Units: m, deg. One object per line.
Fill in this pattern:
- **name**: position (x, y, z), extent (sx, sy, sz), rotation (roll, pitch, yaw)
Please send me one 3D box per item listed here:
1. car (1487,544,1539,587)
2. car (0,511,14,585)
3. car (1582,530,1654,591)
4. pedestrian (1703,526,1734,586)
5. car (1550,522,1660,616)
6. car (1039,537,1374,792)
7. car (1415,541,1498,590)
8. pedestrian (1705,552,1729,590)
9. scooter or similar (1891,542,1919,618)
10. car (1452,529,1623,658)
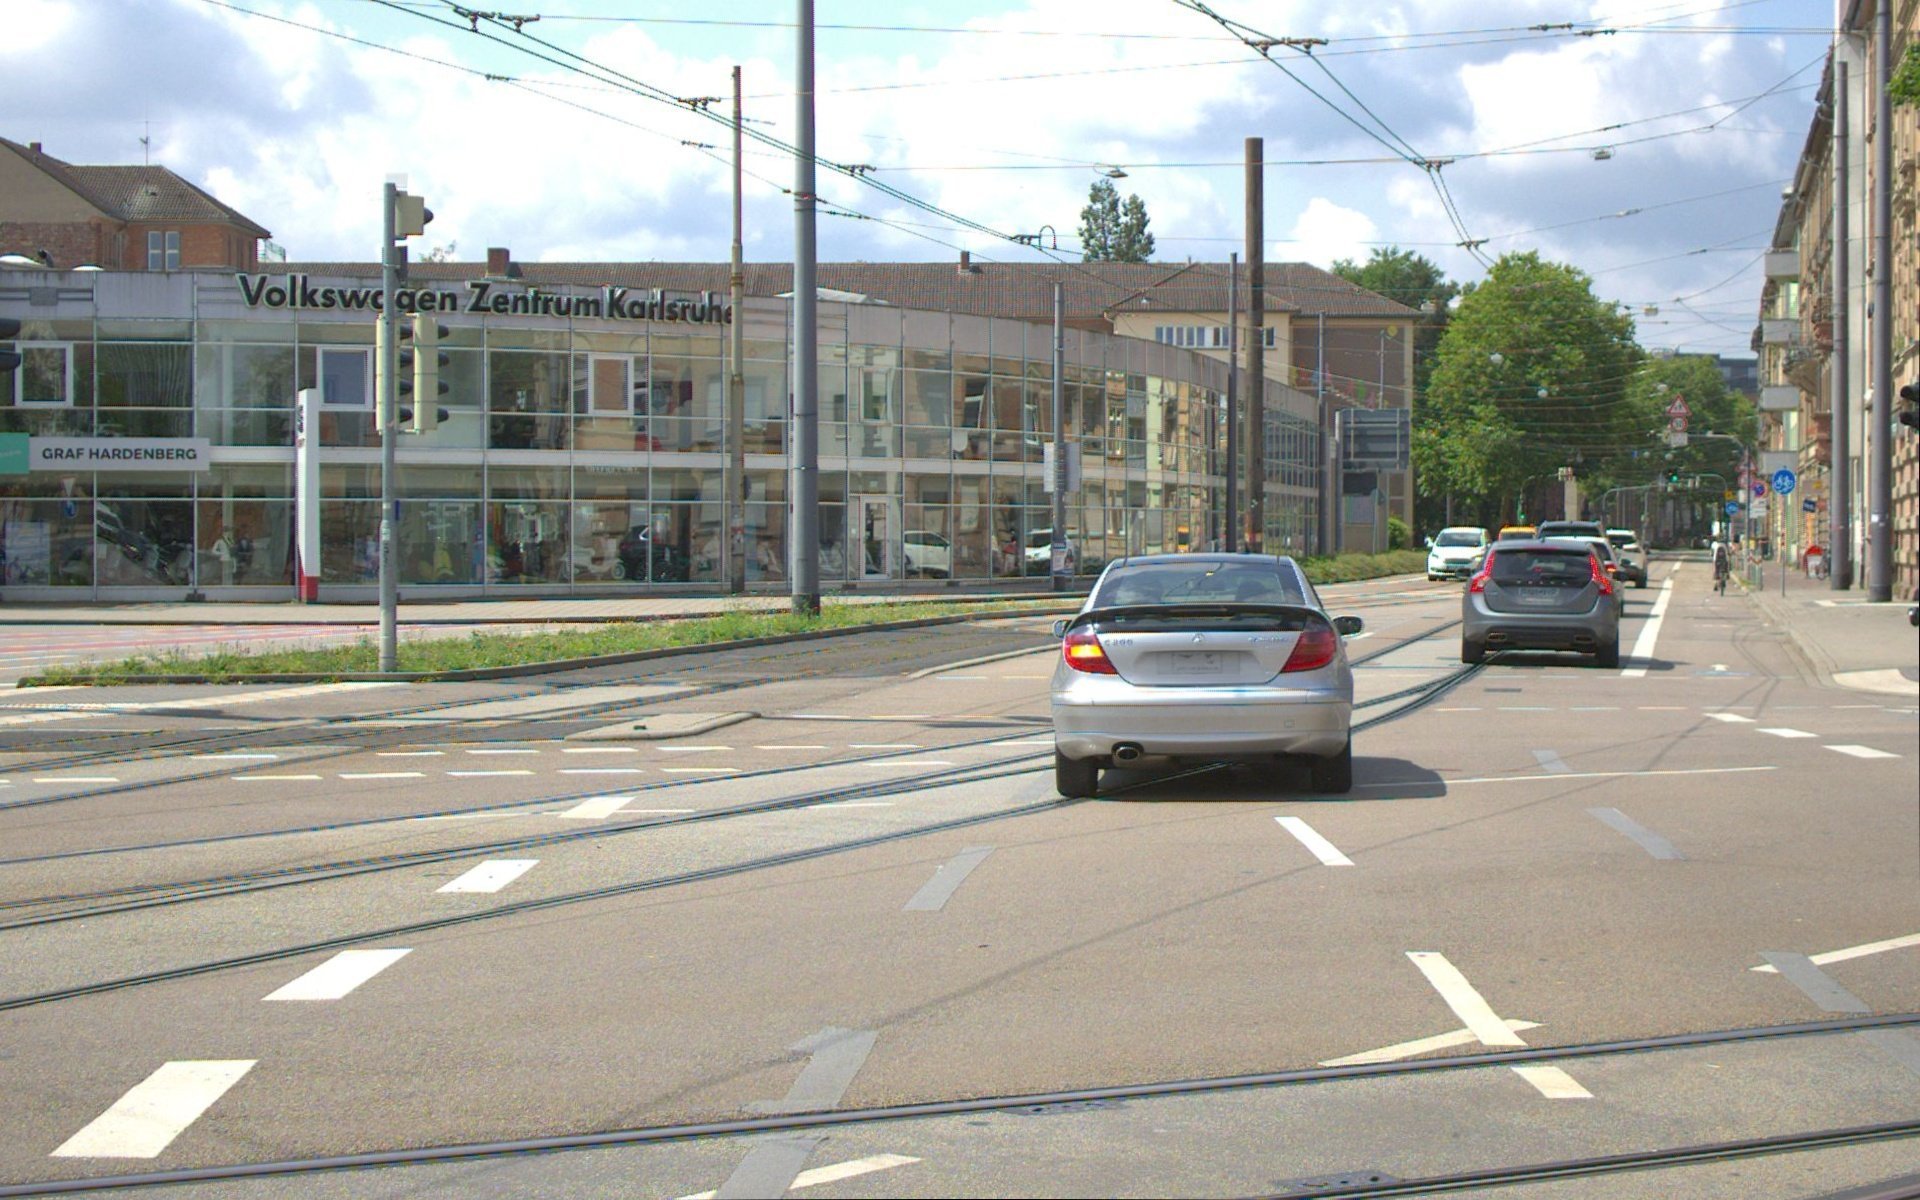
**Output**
- **car**: position (22.507, -1.411, 139.748), extent (1.882, 1.687, 3.955), rotation (1, 1, 12)
- **car**: position (-21.428, -1.152, 72.882), extent (1.993, 1.568, 4.001), rotation (2, 0, -6)
- **car**: position (18.313, -1.101, 95.532), extent (1.882, 1.636, 3.955), rotation (1, 1, 12)
- **pedestrian**: position (18.950, -1.103, 85.934), extent (0.692, 1.452, 0.679), rotation (2, 0, 11)
- **car**: position (11.782, -0.580, 62.868), extent (1.882, 1.636, 3.955), rotation (1, 1, 10)
- **car**: position (1.592, 0.319, 20.887), extent (1.742, 1.387, 4.178), rotation (0, 1, 8)
- **car**: position (15.323, -1.070, 105.938), extent (1.883, 1.414, 3.954), rotation (1, 1, 17)
- **pedestrian**: position (18.892, -0.727, 85.786), extent (0.525, 0.903, 1.560), rotation (2, 0, 11)
- **scooter or similar**: position (15.234, -0.298, 53.981), extent (1.517, 1.170, 0.383), rotation (2, -1, -41)
- **car**: position (6.900, -0.107, 40.860), extent (1.882, 1.414, 3.955), rotation (1, 1, 11)
